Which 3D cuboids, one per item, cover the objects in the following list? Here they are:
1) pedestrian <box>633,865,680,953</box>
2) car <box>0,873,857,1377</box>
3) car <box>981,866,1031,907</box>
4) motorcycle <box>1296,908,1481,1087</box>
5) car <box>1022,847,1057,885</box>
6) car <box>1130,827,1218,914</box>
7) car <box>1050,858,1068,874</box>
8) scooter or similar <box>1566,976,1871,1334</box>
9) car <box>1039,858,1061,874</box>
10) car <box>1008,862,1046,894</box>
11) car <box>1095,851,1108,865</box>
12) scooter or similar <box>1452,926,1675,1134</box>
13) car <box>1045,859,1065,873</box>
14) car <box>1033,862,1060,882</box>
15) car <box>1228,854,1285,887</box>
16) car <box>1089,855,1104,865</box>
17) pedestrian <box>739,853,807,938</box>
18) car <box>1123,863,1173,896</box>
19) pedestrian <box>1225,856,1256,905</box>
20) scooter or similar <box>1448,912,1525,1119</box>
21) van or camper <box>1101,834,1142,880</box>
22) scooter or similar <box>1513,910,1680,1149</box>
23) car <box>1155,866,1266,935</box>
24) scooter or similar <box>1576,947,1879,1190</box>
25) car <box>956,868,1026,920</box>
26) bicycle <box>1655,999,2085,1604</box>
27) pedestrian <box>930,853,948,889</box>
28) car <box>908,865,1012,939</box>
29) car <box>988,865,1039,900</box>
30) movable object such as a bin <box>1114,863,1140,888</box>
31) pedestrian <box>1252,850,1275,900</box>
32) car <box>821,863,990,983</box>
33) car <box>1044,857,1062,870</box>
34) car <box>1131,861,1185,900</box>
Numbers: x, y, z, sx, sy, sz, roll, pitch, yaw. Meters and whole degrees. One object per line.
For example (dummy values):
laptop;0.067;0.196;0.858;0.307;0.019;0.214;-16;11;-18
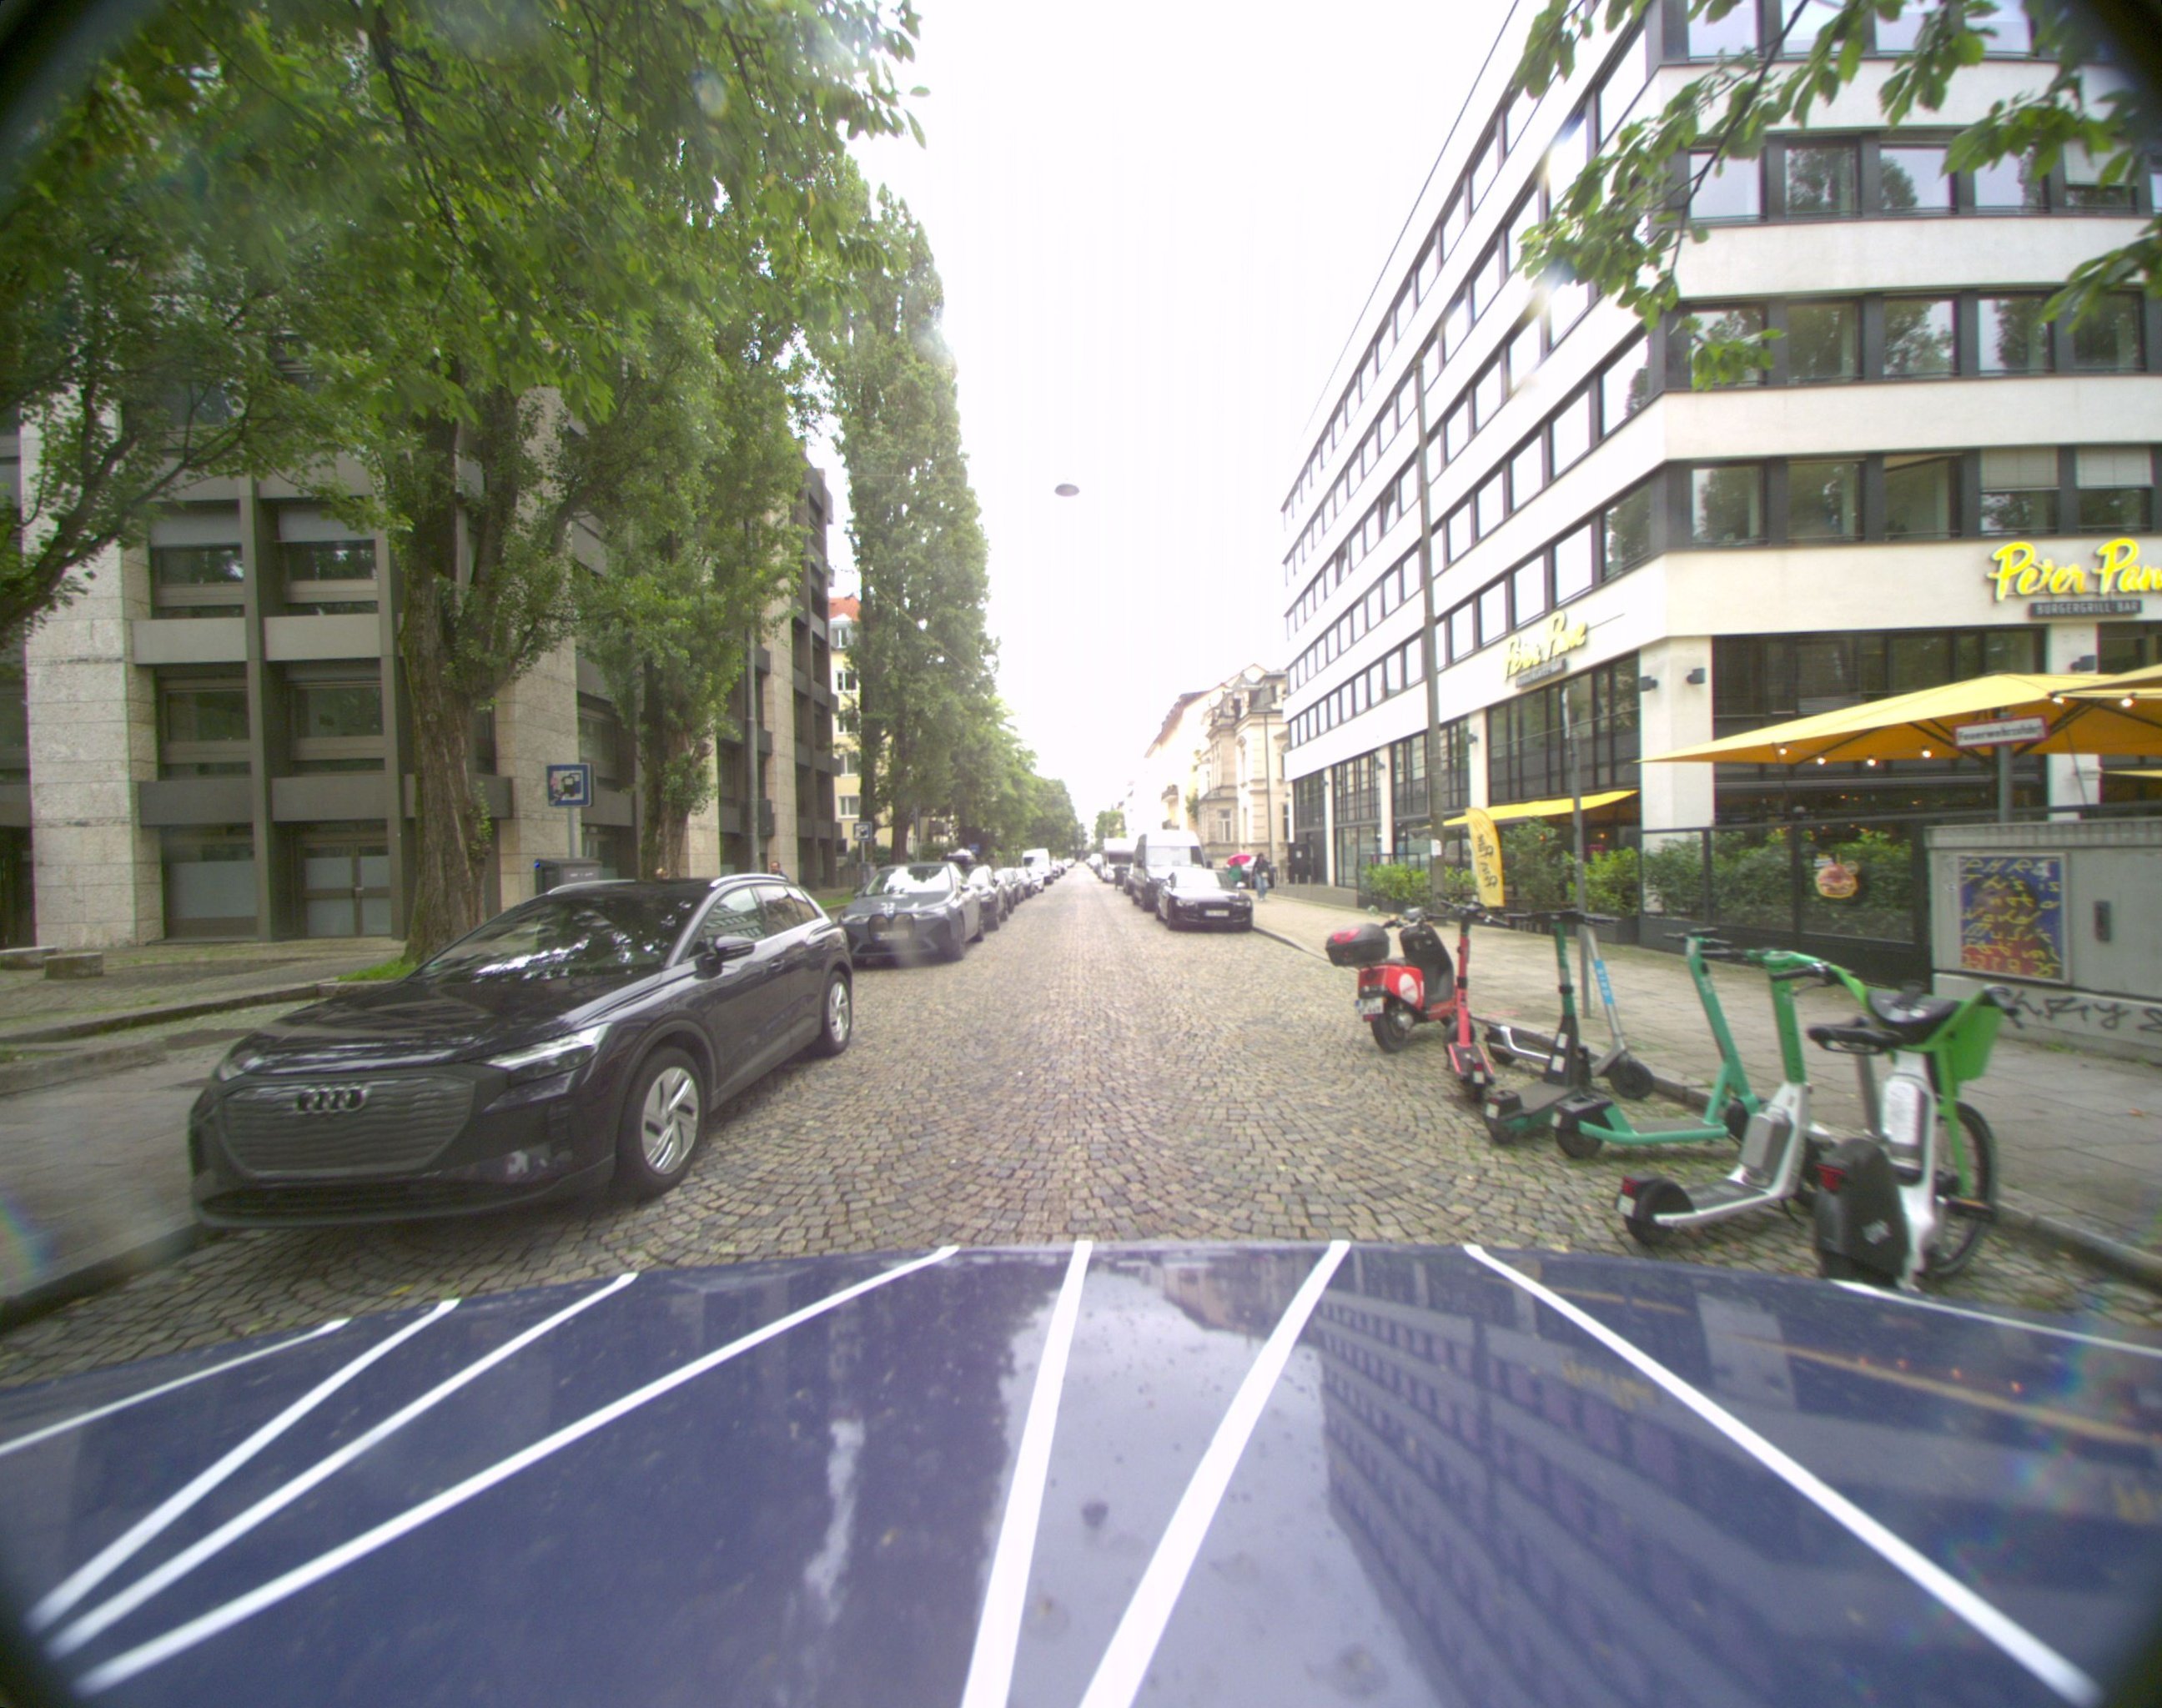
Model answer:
pedestrian;-8.041;1.031;14.401;0.489;1.619;0.568;-2;1;4
car;-3.053;1.066;4.943;1.925;1.690;4.201;-2;0;-1
car;-2.990;1.267;30.795;1.604;1.422;3.562;-4;0;0
motorcycle;2.745;1.145;6.654;1.995;1.189;0.769;-1;0;-45
car;-2.853;0.766;53.417;2.088;2.418;5.610;-3;0;-1
car;2.909;0.489;25.155;2.065;2.476;5.848;-2;0;-1
car;-2.701;1.444;92.454;1.999;1.680;3.873;-3;0;-2
scooter or similar;2.737;1.177;3.232;1.432;1.137;0.369;-2;1;-23
car;-2.917;1.119;72.072;1.999;1.379;3.873;-3;0;-2
car;-2.842;1.233;40.785;1.868;1.490;3.873;-3;0;-2
car;3.705;0.706;139.736;2.088;2.418;5.610;-2;0;-1
scooter or similar;3.299;1.140;5.292;0.391;1.173;1.248;-2;0;-31
car;-2.788;1.275;80.718;1.999;1.379;3.873;-2;0;-2
car;-2.690;1.361;59.926;1.999;1.379;3.873;-3;0;-2
car;8.666;0.769;37.938;1.912;1.523;4.169;-2;0;1
car;2.259;0.928;113.769;1.999;1.401;3.873;-3;0;-2
pedestrian;-6.419;0.845;15.869;0.867;1.704;0.913;-1;1;20
car;3.120;1.173;36.258;1.998;1.380;4.000;-1;0;0
pedestrian;5.638;0.937;26.939;0.928;1.696;0.800;-2;1;3
scooter or similar;3.069;1.122;5.708;0.326;1.265;1.360;-1;1;35
van or camper;2.848;0.202;55.427;2.464;3.029;7.317;-2;0;-1
scooter or similar;3.240;1.025;4.751;1.253;1.265;0.327;-2;1;-30
car;2.947;1.014;18.159;1.998;1.322;4.116;-2;0;1
scooter or similar;3.312;1.087;3.931;1.250;1.137;0.327;-2;1;1
car;-2.970;1.292;25.910;1.723;1.382;4.205;-5;0;0
bicycle;2.629;1.188;2.474;1.765;1.136;0.552;-2;1;-30
pedestrian;-6.159;0.723;33.026;0.645;1.528;0.709;-2;1;-3
car;-2.985;1.140;19.681;1.999;1.573;4.341;-2;0;-1
car;-3.079;1.272;35.537;1.999;1.379;3.873;-3;0;0
movable object such as a bin;2.498;1.171;41.474;1.255;1.290;1.174;-1;0;-4
pedestrian;6.355;0.726;26.531;0.575;1.738;0.650;-2;1;-4
car;-2.955;1.077;13.957;2.018;1.690;4.672;-2;0;-1
car;-3.192;1.084;87.819;1.999;1.379;3.873;-2;0;-2
car;3.125;1.052;31.432;1.998;1.422;4.001;-1;0;3
